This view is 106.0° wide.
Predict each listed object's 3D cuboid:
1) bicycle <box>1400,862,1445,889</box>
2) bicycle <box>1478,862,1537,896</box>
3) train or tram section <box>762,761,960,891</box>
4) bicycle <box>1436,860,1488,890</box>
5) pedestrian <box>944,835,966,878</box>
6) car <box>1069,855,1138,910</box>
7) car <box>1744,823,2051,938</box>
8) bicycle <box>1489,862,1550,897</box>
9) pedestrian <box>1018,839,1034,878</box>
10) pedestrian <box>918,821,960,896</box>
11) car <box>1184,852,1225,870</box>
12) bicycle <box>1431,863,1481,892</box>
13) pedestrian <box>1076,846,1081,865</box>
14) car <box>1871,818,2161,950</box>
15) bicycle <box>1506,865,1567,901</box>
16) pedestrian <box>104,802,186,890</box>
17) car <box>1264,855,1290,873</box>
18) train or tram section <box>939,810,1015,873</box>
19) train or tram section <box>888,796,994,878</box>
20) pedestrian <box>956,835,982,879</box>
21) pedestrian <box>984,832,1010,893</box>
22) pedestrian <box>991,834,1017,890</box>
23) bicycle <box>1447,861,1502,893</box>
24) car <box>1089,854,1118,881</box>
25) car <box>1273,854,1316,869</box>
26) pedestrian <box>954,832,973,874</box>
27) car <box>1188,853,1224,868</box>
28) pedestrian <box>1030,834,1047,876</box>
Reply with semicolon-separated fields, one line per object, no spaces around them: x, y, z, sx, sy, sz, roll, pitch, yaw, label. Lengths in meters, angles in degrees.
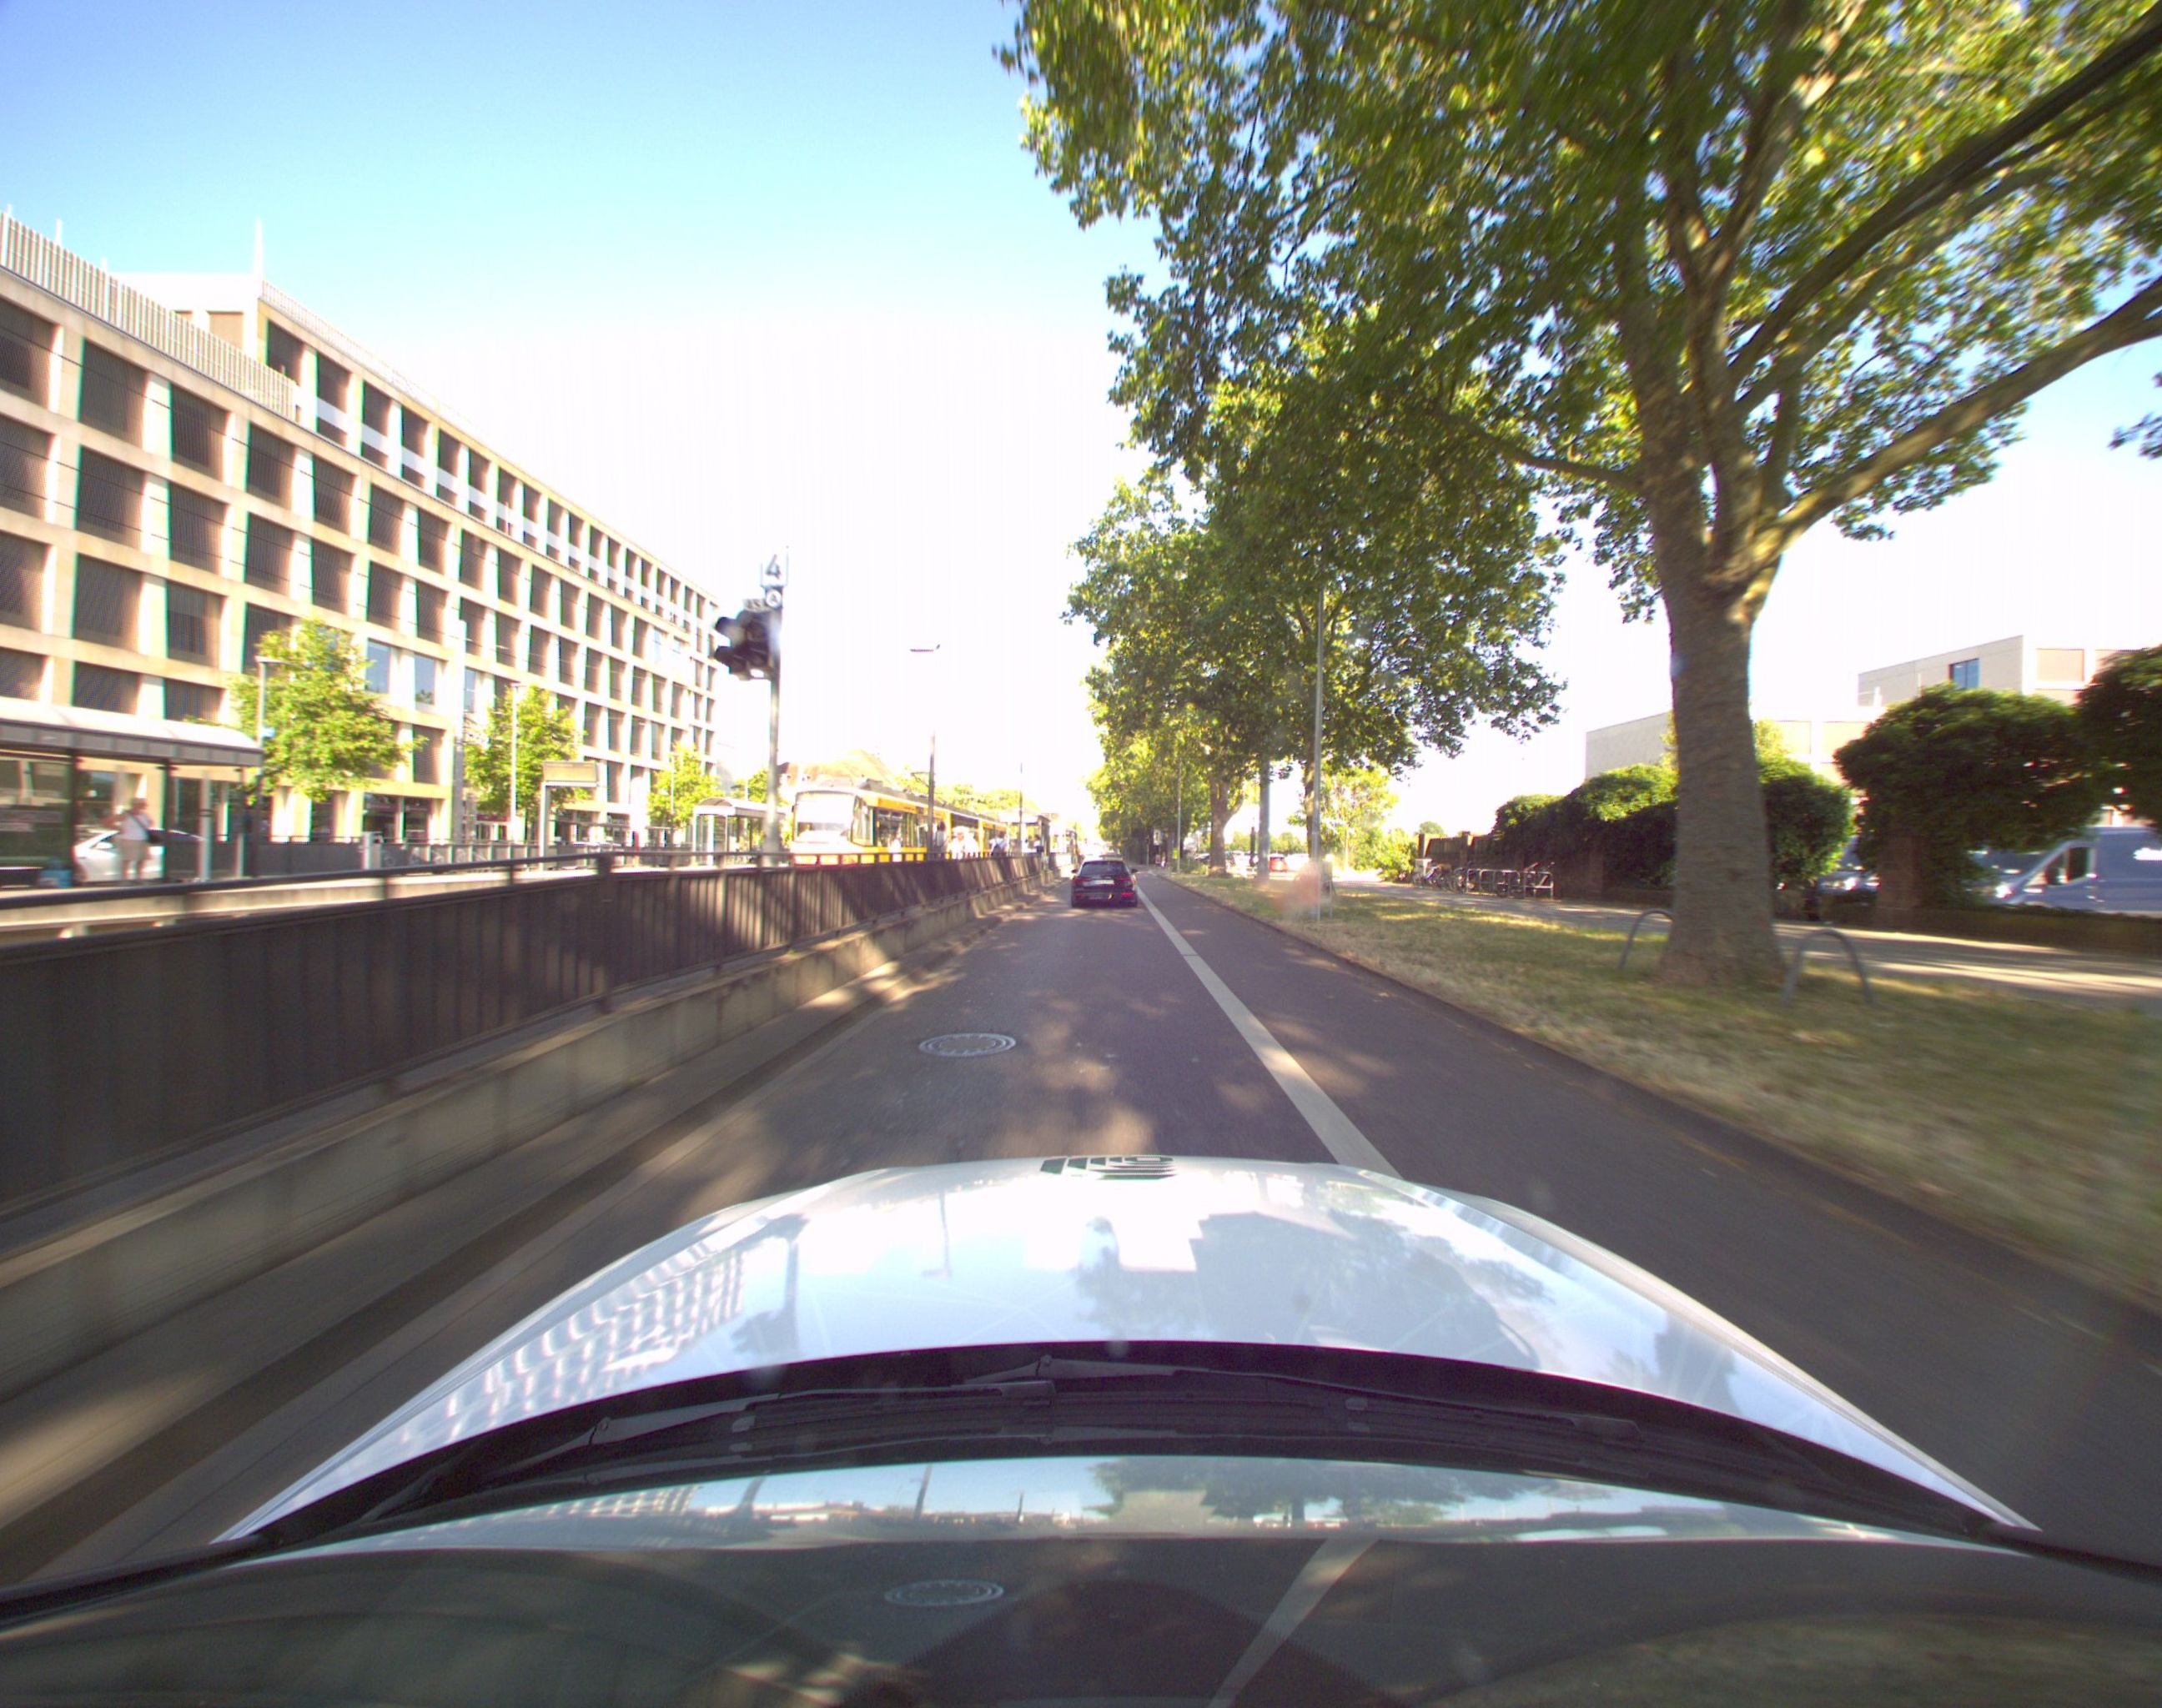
14.267;0.902;34.026;1.770;1.120;0.438;0;0;-6;bicycle
14.398;0.831;27.505;1.767;1.120;0.439;0;0;0;bicycle
-7.662;-0.826;31.528;3.296;3.829;14.224;1;0;2;train or tram section
14.356;0.795;30.728;1.767;1.120;0.439;0;0;0;bicycle
-5.270;0.114;34.062;0.790;1.784;0.626;1;0;2;pedestrian
0.612;0.774;23.900;1.872;1.457;3.356;0;0;-1;car
19.756;0.618;19.891;5.441;2.490;2.000;2;0;1;car
14.284;0.838;26.557;1.767;1.120;0.439;0;0;0;bicycle
-2.569;0.217;38.154;0.607;1.784;0.681;1;0;2;pedestrian
-2.990;0.086;17.230;0.610;1.549;0.727;1;0;12;pedestrian
12.721;0.683;83.818;3.971;1.764;1.834;1;0;2;car
14.617;0.900;31.768;1.767;1.120;0.439;0;0;0;bicycle
-0.205;0.134;72.475;0.410;1.717;0.666;1;0;2;pedestrian
20.272;0.618;17.061;5.441;2.490;2.000;2;0;1;car
14.245;0.909;25.490;1.681;1.120;0.439;0;0;0;bicycle
-16.820;-0.138;14.651;0.610;1.527;0.726;1;0;10;pedestrian
17.919;0.886;74.723;1.608;1.515;3.805;1;0;2;car
-6.923;-0.802;56.405;3.297;3.829;11.848;1;0;2;train or tram section
-7.278;-0.810;44.553;3.297;3.829;11.848;1;0;2;train or tram section
-4.567;0.113;33.185;0.799;1.784;0.642;1;0;-38;pedestrian
-2.359;0.232;22.987;0.609;1.668;0.614;1;0;3;pedestrian
-2.266;0.233;23.981;0.613;1.642;0.610;1;0;-18;pedestrian
14.310;0.830;29.641;1.767;1.120;0.439;0;0;0;bicycle
1.408;0.822;52.671;1.757;1.619;3.999;1;0;0;car
24.015;0.832;91.752;4.436;1.658;1.921;1;0;6;car
-5.069;-0.026;35.181;0.609;1.784;0.775;1;0;2;pedestrian
13.946;0.724;91.122;3.870;1.505;1.889;1;0;3;car
-1.838;0.046;35.361;0.609;1.784;0.614;1;0;2;pedestrian
